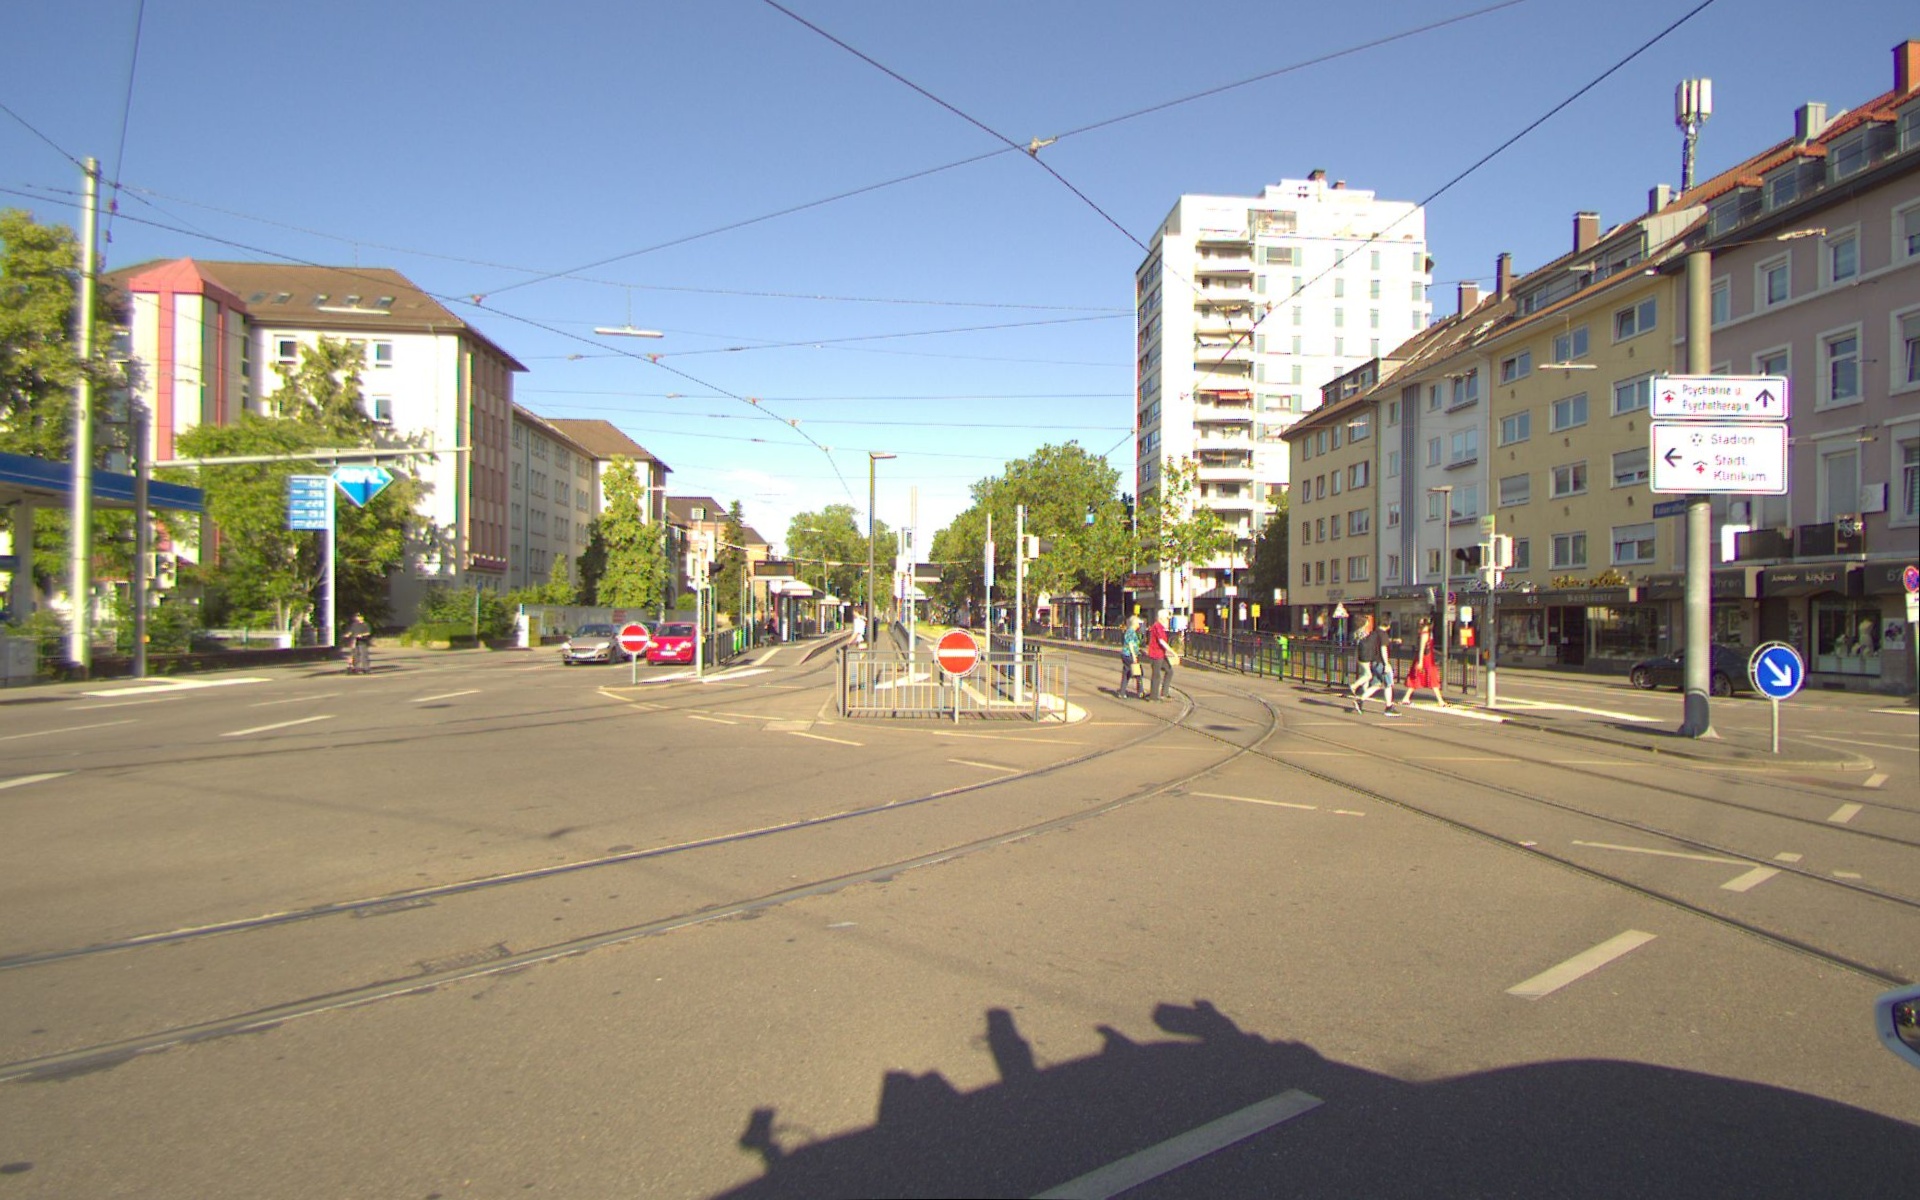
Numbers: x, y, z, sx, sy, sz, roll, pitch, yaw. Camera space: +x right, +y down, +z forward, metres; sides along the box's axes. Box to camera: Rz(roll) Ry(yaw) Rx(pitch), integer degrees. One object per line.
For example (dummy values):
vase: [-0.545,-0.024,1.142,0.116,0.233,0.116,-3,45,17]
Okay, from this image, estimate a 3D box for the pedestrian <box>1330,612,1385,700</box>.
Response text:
pedestrian: [8.168,1.139,20.687,0.807,1.756,0.789,1,-1,0]

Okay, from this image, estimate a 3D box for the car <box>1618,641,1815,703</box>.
car: [21.227,1.974,28.472,1.712,1.459,4.650,2,-1,-7]

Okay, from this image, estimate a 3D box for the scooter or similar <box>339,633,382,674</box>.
scooter or similar: [-18.130,1.597,30.388,0.455,1.198,1.476,1,-1,-3]

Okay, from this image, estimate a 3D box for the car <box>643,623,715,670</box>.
car: [-9.921,1.605,35.745,1.685,1.506,4.216,1,-1,-5]

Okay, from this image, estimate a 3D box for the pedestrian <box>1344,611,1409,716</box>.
pedestrian: [7.142,1.080,17.229,0.788,1.756,0.652,1,-1,-17]

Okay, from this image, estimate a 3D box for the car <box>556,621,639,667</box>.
car: [-12.935,1.541,36.055,1.709,1.539,3.999,1,-1,-3]

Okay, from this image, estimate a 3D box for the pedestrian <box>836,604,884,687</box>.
pedestrian: [-2.160,0.980,21.765,0.807,1.756,0.789,1,-1,12]

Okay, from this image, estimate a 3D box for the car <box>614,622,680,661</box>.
car: [-13.139,1.724,42.408,1.709,1.539,3.999,1,-1,-3]

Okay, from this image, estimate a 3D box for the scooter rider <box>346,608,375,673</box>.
scooter rider: [-18.130,1.226,30.381,0.455,1.926,0.692,1,-1,-4]

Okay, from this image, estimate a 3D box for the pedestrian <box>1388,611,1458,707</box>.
pedestrian: [8.659,1.092,18.820,0.888,1.756,0.840,1,-1,-6]

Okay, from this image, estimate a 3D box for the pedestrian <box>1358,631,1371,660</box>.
pedestrian: [22.758,2.553,56.511,0.498,1.582,0.466,1,-1,-2]

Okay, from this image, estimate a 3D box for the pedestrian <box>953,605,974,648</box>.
pedestrian: [0.120,1.002,37.970,0.584,1.589,0.732,1,-1,16]

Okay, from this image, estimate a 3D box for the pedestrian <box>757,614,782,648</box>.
pedestrian: [-8.286,1.351,43.612,1.026,1.439,0.577,1,-1,-10]

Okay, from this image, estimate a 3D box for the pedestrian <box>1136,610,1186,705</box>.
pedestrian: [3.864,1.087,19.287,0.831,1.746,0.825,1,-1,18]

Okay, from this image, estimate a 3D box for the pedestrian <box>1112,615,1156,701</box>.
pedestrian: [3.481,1.141,20.064,0.792,1.652,0.865,1,-1,13]

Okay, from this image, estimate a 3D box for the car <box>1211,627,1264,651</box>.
car: [18.018,2.492,65.323,1.906,1.449,3.996,2,-1,-7]
